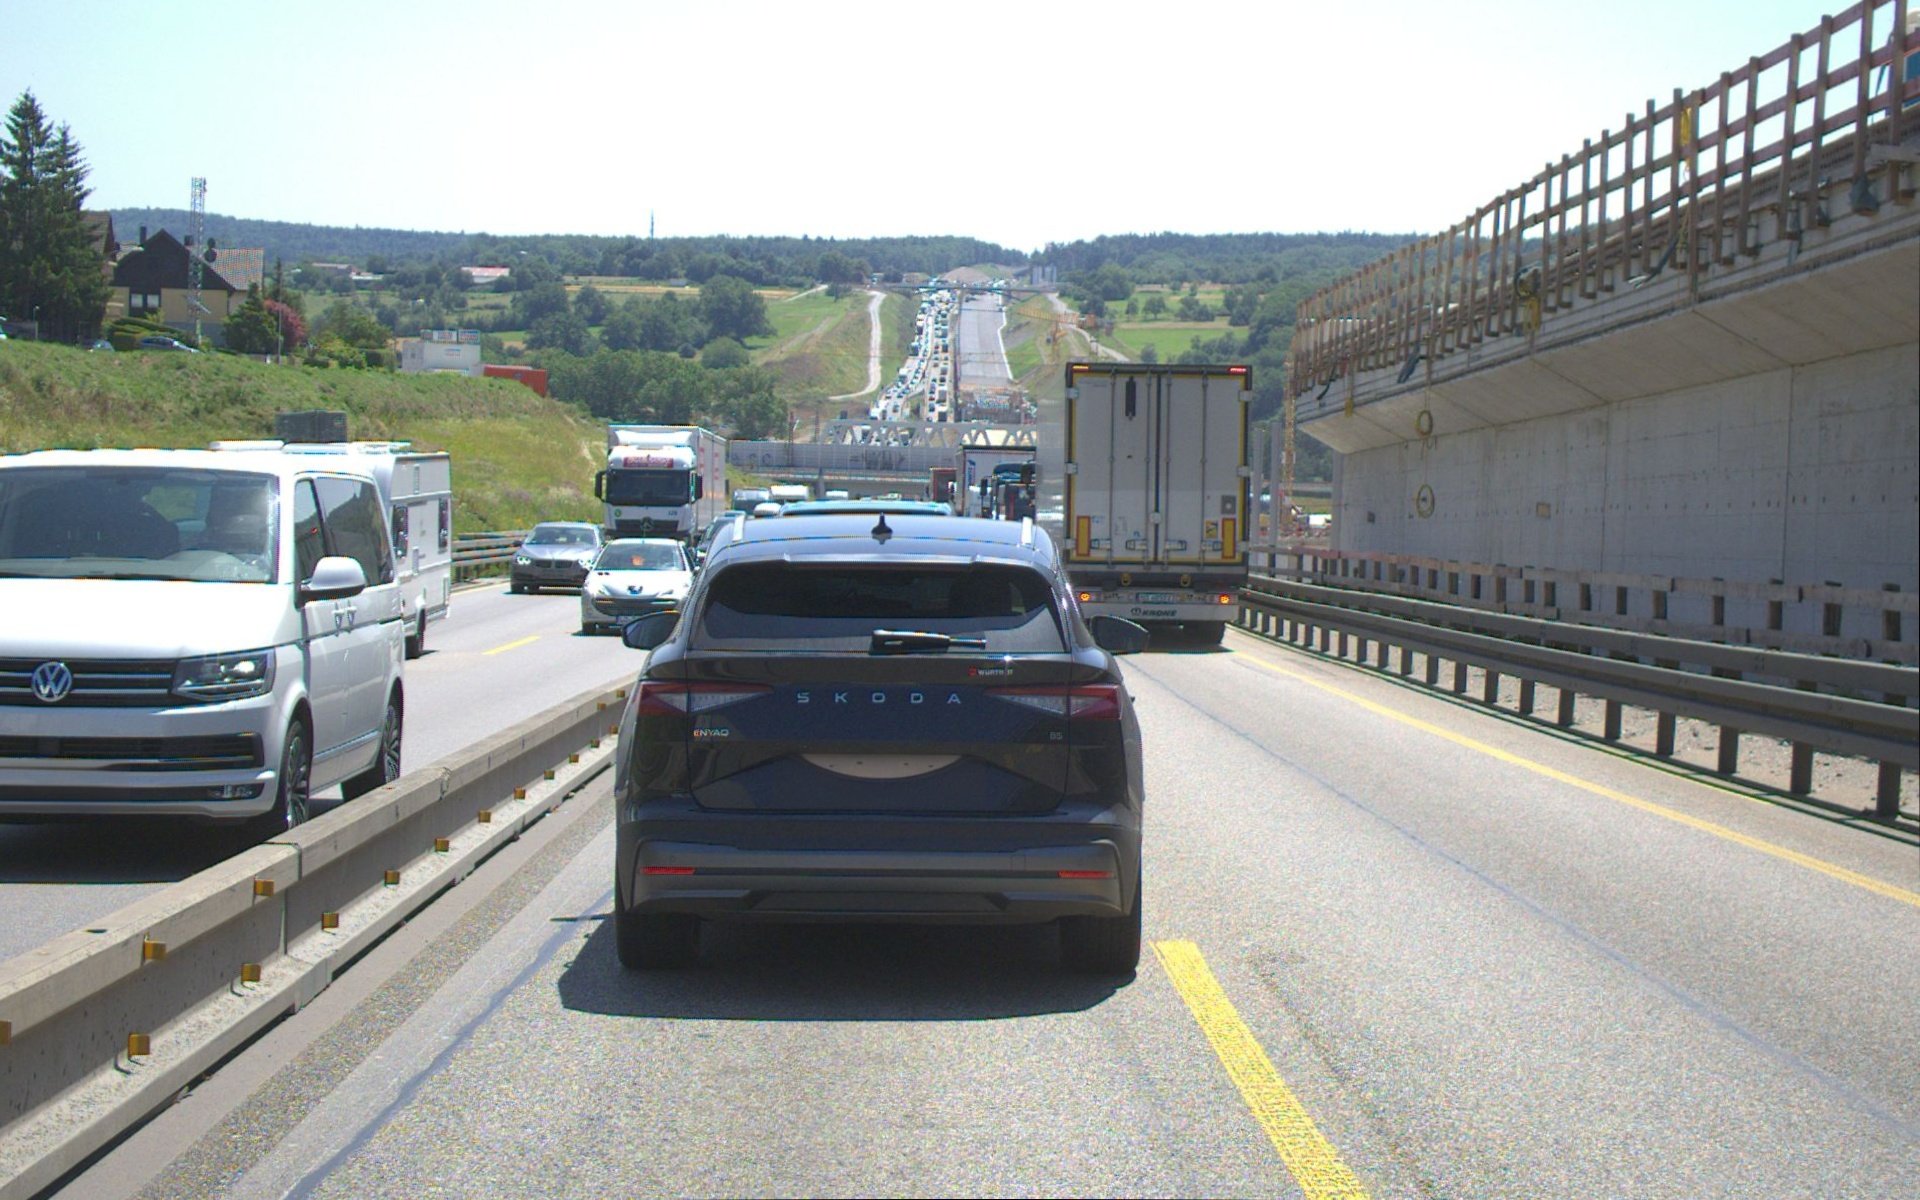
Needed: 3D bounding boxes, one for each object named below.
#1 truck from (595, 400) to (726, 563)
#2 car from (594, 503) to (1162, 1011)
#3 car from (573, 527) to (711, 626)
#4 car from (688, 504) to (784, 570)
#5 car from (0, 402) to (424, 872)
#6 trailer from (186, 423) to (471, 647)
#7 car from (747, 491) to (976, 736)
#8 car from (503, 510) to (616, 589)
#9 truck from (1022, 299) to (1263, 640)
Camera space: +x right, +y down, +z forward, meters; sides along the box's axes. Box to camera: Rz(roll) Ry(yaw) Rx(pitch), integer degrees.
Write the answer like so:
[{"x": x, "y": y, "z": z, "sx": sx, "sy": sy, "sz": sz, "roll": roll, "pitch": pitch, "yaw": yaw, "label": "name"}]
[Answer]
[{"x": -8.528, "y": -3.301, "z": 98.759, "sx": 2.753, "sy": 4.212, "sz": 8.099, "roll": 5, "pitch": 0, "yaw": 0, "label": "truck"}, {"x": -0.329, "y": 0.478, "z": 12.872, "sx": 1.782, "sy": 1.592, "sz": 3.755, "roll": 1, "pitch": 1, "yaw": -2, "label": "car"}, {"x": -4.770, "y": -0.346, "z": 52.003, "sx": 1.702, "sy": 1.436, "sz": 4.000, "roll": 0, "pitch": 0, "yaw": 0, "label": "car"}, {"x": -4.768, "y": -1.325, "z": 73.650, "sx": 1.771, "sy": 1.284, "sz": 4.000, "roll": 2, "pitch": 0, "yaw": 0, "label": "car"}, {"x": -3.970, "y": 0.145, "z": 17.241, "sx": 1.862, "sy": 2.007, "sz": 4.806, "roll": 1, "pitch": 0, "yaw": -1, "label": "car"}, {"x": -7.789, "y": -0.766, "z": 43.060, "sx": 2.485, "sy": 2.604, "sz": 5.867, "roll": 0, "pitch": 0, "yaw": 0, "label": "trailer"}, {"x": -0.904, "y": 0.084, "z": 29.829, "sx": 1.749, "sy": 1.889, "sz": 3.756, "roll": 4, "pitch": 1, "yaw": -3, "label": "car"}, {"x": -8.250, "y": -1.028, "z": 71.117, "sx": 1.872, "sy": 1.437, "sz": 4.000, "roll": 5, "pitch": 0, "yaw": -1, "label": "car"}, {"x": 2.619, "y": -1.810, "z": 53.277, "sx": 2.846, "sy": 4.599, "sz": 11.811, "roll": 2, "pitch": 0, "yaw": -1, "label": "truck"}]
